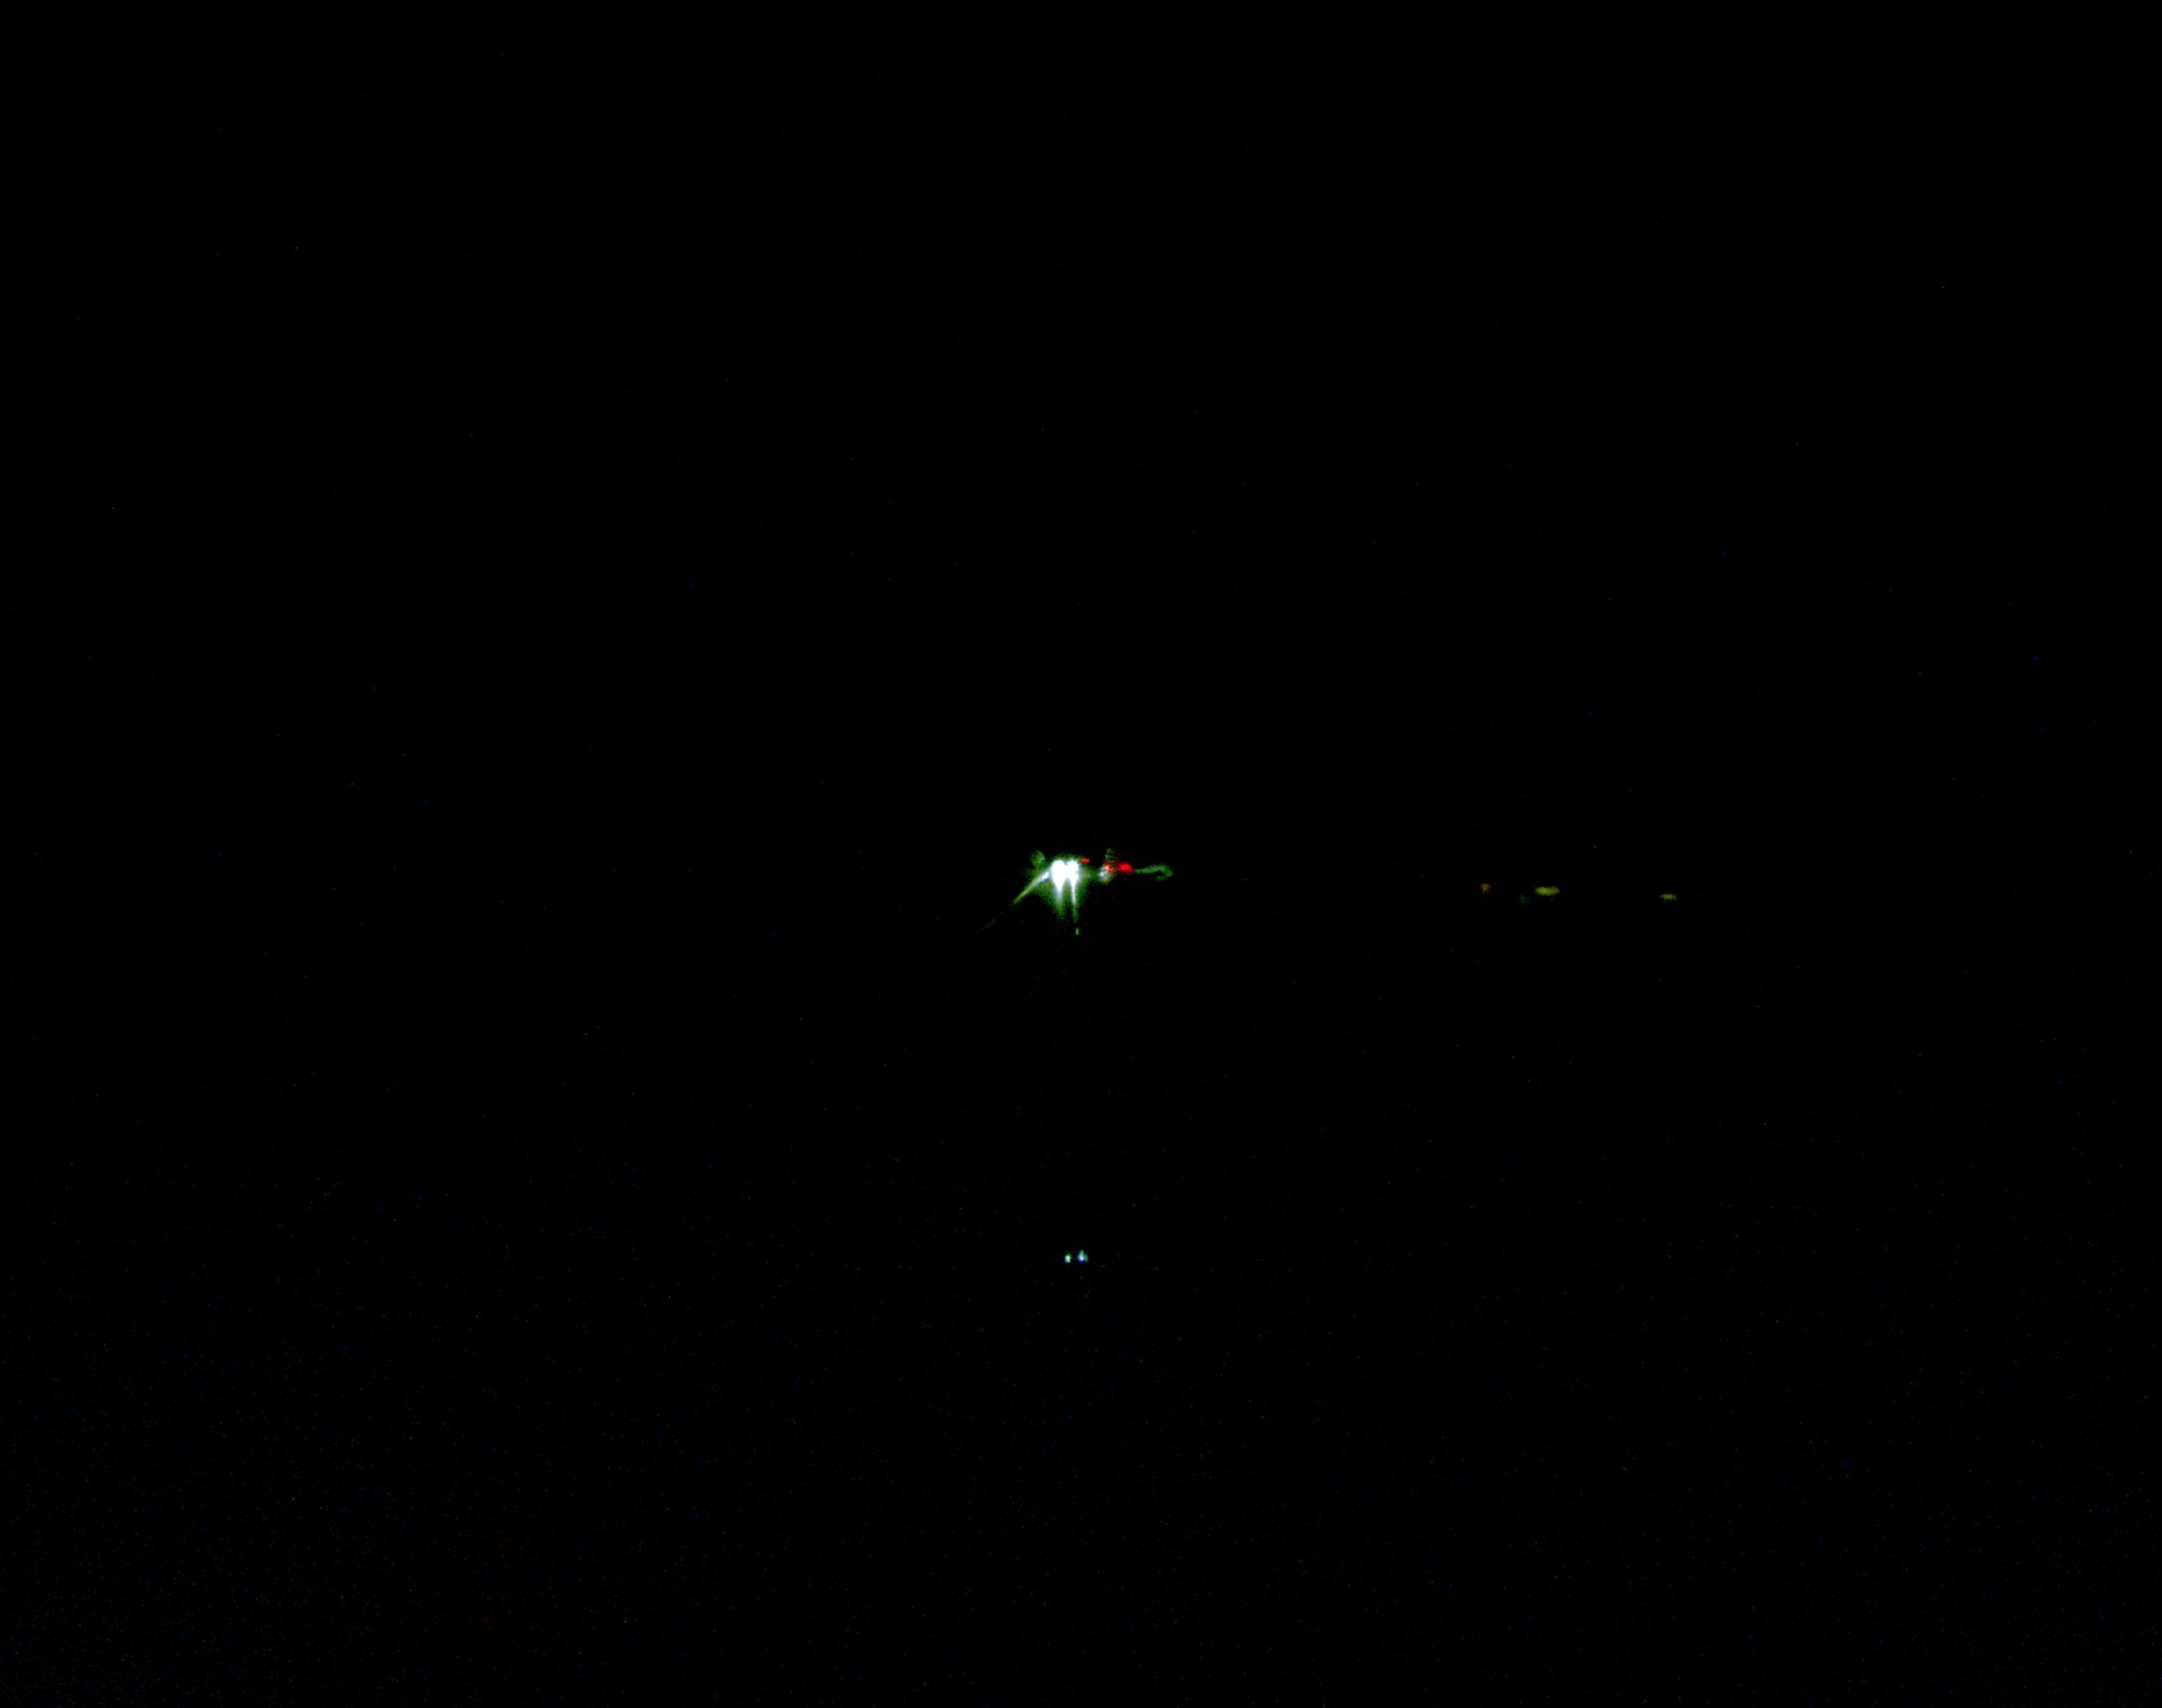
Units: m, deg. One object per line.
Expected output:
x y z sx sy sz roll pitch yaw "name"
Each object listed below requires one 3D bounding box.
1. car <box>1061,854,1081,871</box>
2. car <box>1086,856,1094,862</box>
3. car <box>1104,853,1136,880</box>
-1.074 0.912 83.858 1.998 1.724 4.000 3 0 0 "car"
2.680 1.501 228.561 2.103 1.630 4.454 2 0 -1 "car"
2.836 0.876 56.260 1.999 1.814 4.562 -2 0 -1 "car"
